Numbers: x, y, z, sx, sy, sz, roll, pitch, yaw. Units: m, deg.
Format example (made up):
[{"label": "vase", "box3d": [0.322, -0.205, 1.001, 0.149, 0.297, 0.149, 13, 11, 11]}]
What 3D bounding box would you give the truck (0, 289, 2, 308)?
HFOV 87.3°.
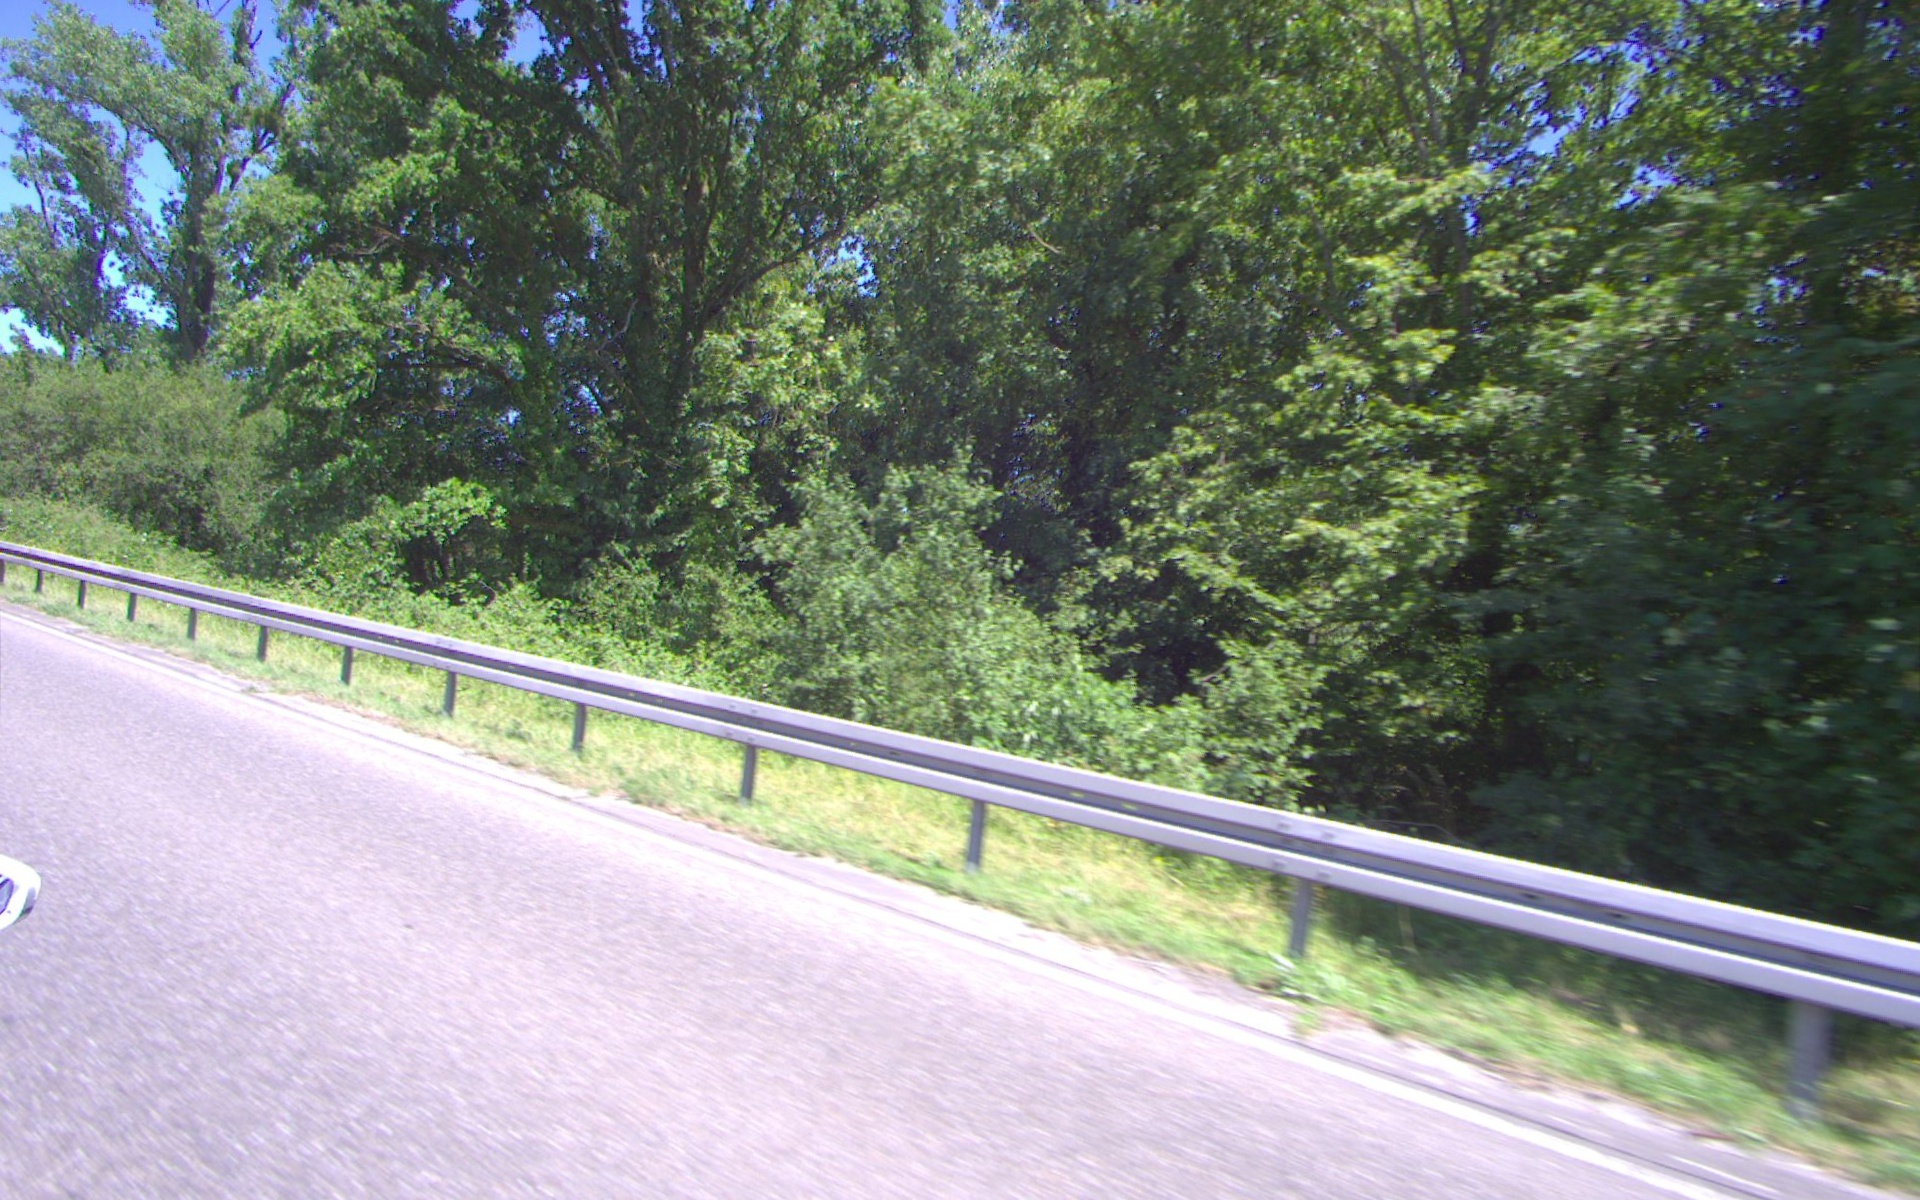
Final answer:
[{"label": "truck", "box3d": [-17.300, -2.382, 13.940, 12.167, 3.976, 2.724, 6, -1, 33]}]
